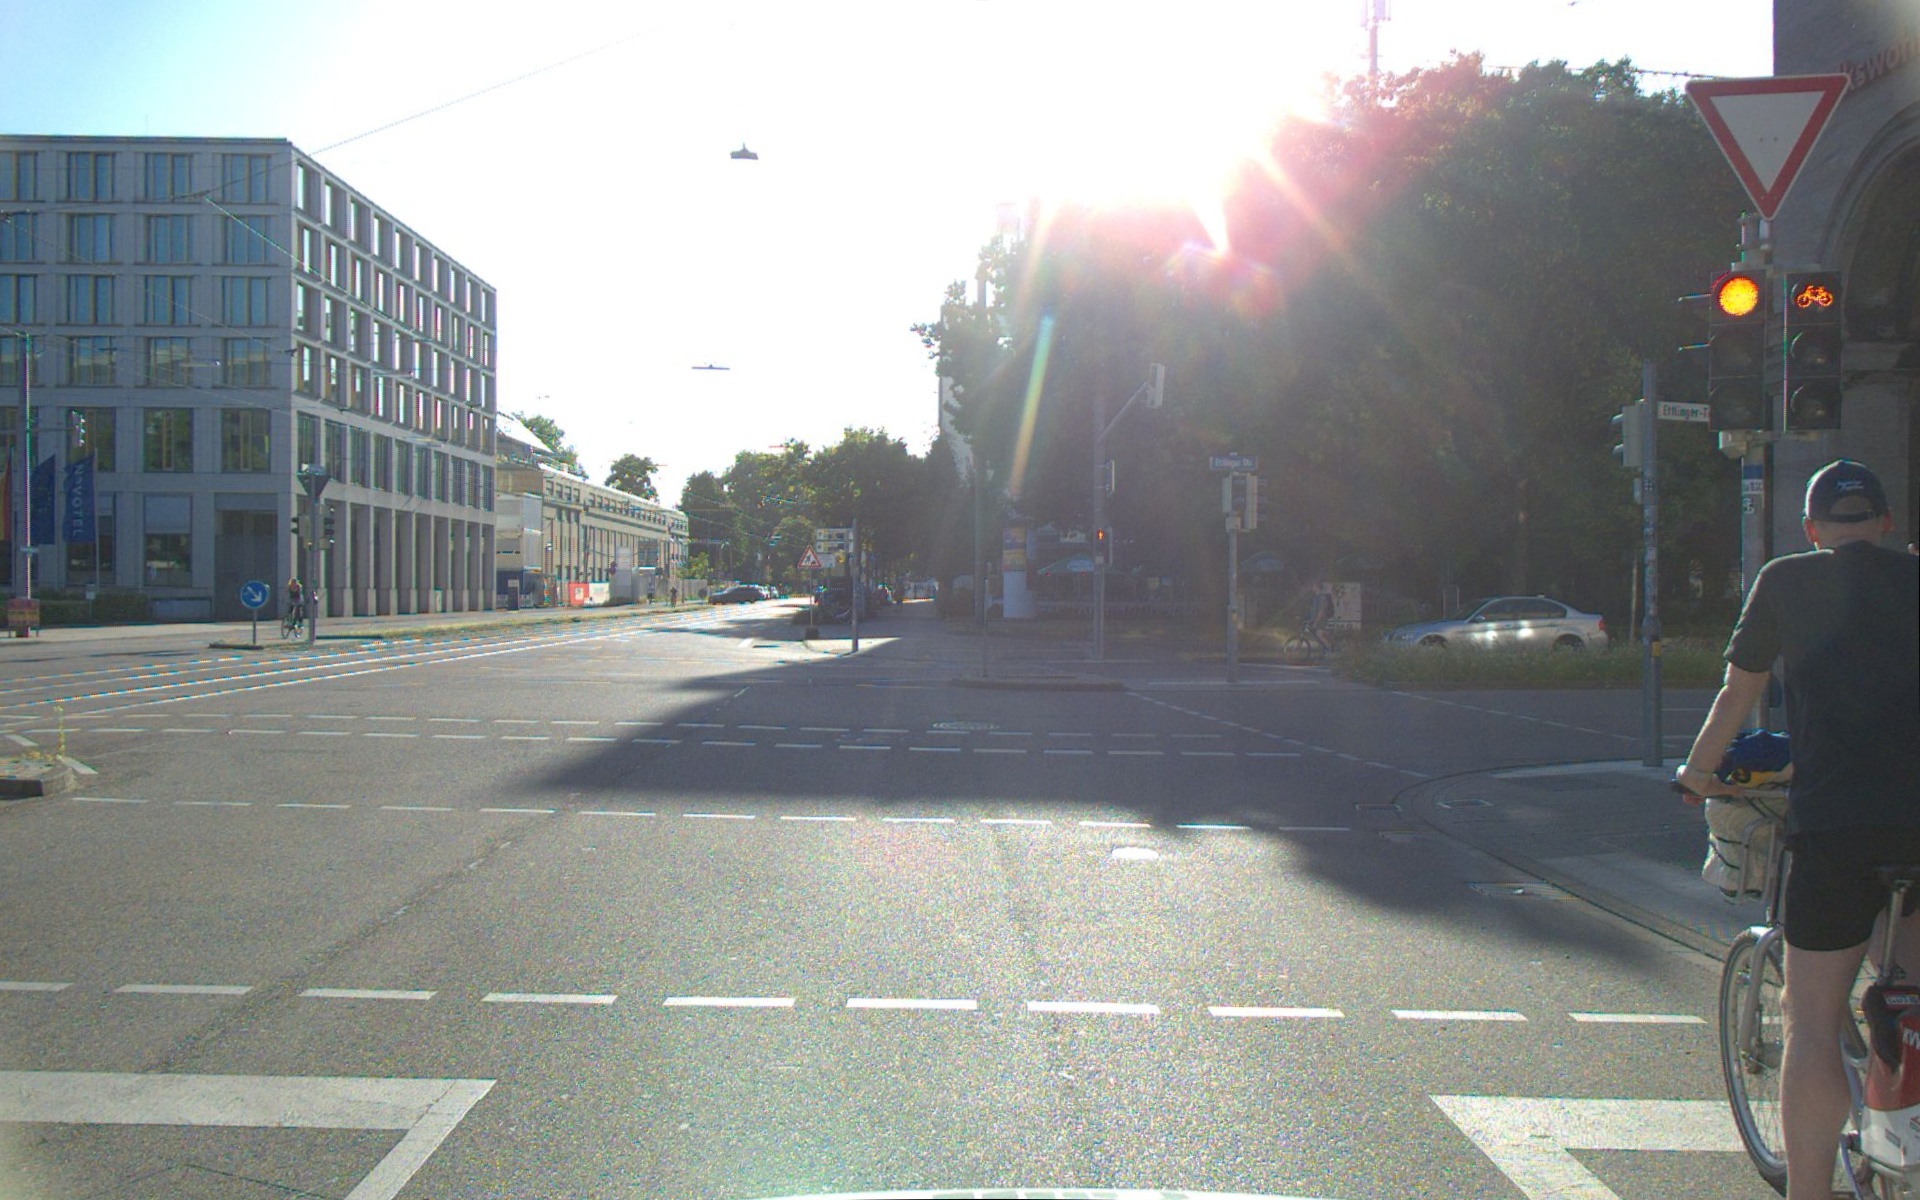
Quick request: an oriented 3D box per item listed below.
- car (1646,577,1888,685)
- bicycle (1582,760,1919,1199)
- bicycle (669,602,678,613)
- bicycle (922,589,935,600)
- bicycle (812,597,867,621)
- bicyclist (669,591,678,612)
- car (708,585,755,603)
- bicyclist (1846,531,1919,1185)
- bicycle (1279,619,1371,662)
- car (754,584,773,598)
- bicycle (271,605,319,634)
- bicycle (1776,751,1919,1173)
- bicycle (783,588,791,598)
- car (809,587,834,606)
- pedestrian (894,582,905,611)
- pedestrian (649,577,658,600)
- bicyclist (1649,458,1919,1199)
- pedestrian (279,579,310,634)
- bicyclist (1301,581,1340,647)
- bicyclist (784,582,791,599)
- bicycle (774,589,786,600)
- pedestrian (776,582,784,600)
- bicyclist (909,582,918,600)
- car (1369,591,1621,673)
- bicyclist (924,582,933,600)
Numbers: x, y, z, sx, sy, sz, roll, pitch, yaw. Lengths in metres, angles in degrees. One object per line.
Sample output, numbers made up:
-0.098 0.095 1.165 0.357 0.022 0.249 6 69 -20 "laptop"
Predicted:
16.226 0.615 33.386 3.905 2.049 2.000 1 0 0 "car"
2.135 1.002 3.920 0.610 1.062 1.746 0 0 -2 "bicycle"
-20.969 0.546 121.051 0.484 0.854 1.156 0 0 2 "bicycle"
-3.564 -0.595 186.998 0.875 1.240 2.785 1 0 -12 "bicycle"
-4.880 0.364 67.144 2.201 0.956 0.653 0 0 -6 "bicycle"
-20.969 0.085 121.037 0.484 1.525 0.666 0 0 2 "bicyclist"
-21.372 -0.591 154.705 3.945 1.627 1.980 0 0 -30 "car"
2.881 0.697 4.360 0.572 1.769 0.950 0 0 0 "bicyclist"
8.032 0.883 36.492 1.902 0.905 0.718 1 0 5 "bicycle"
-23.067 -1.025 194.361 1.954 1.673 3.997 0 0 -4 "car"
-20.086 0.589 49.969 0.559 0.837 1.720 0 0 8 "bicycle"
2.881 1.018 4.395 0.570 1.062 1.747 0 0 0 "bicycle"
-20.430 -0.823 195.608 0.735 1.226 3.107 1 0 -2 "bicycle"
-12.595 -0.286 150.687 1.953 1.668 3.999 1 0 -1 "car"
-3.580 -0.210 97.654 0.566 1.719 0.584 0 0 -8 "pedestrian"
-25.143 -0.940 135.752 0.576 1.922 0.477 1 -1 28 "pedestrian"
2.139 0.574 3.908 0.610 1.745 0.912 0 0 -2 "bicyclist"
-20.091 0.192 49.967 0.559 1.623 0.745 0 0 9 "pedestrian"
7.953 0.308 36.499 0.731 1.431 0.702 1 -1 6 "bicyclist"
-20.424 -1.090 195.490 0.735 1.953 1.214 1 0 -2 "bicyclist"
-20.689 -0.578 190.030 0.735 1.226 3.109 1 0 5 "bicycle"
-20.676 -1.040 190.029 0.735 2.099 1.050 1 -1 5 "pedestrian"
-5.215 -1.029 186.671 0.875 2.049 0.746 1 -1 -12 "bicyclist"
10.847 0.634 33.732 4.483 1.543 2.000 1 0 -1 "car"
-3.549 -0.999 186.921 0.875 2.049 0.746 1 -1 -12 "bicyclist"
